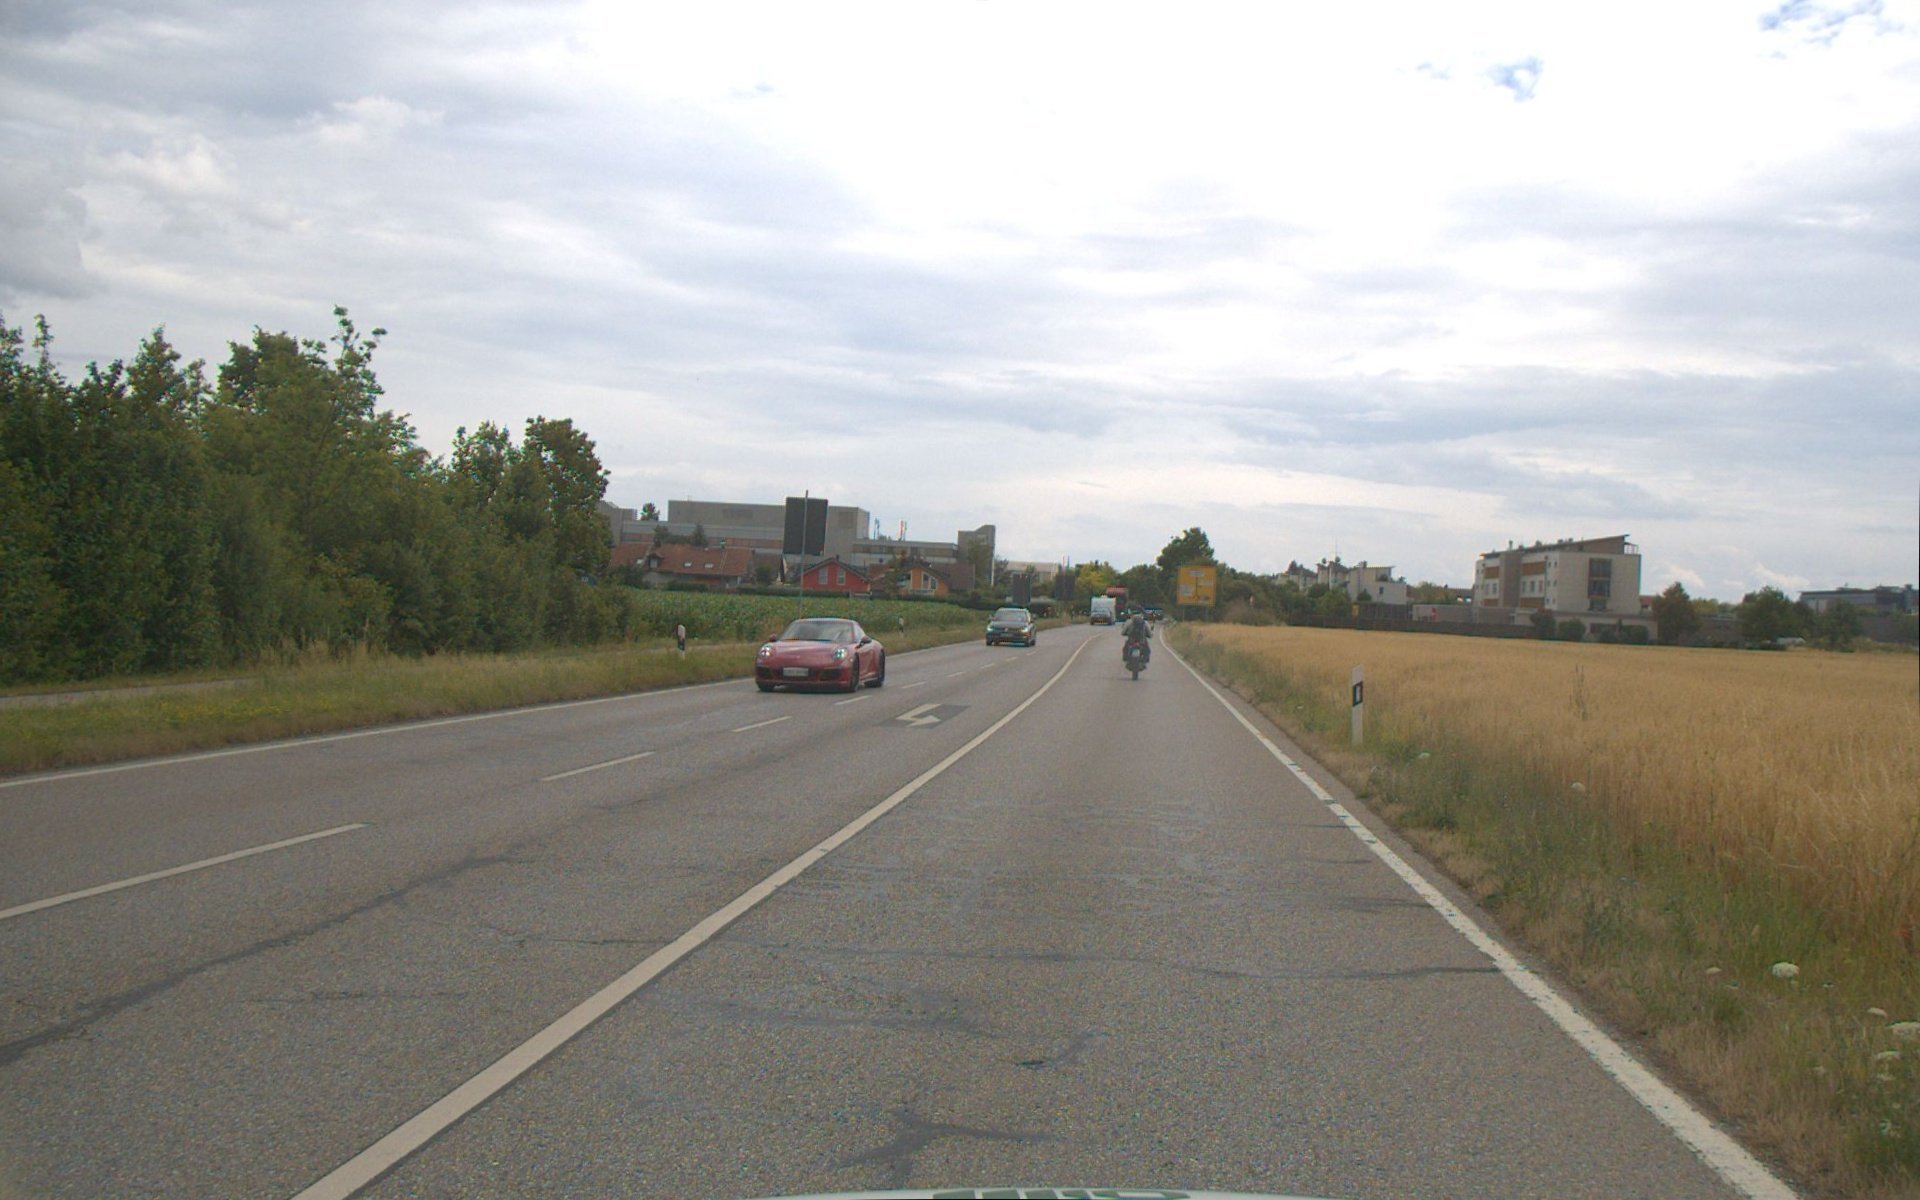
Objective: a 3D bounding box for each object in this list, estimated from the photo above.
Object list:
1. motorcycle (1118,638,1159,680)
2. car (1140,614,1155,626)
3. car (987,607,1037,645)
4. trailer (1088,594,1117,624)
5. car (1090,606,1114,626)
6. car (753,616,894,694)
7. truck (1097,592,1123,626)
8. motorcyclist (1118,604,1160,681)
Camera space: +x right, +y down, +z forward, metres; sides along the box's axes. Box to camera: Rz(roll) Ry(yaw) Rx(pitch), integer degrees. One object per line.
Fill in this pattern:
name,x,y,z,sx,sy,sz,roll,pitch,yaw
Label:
motorcycle,4.332,1.417,40.016,0.921,0.905,2.147,3,0,7
car,24.476,2.575,215.728,1.816,1.498,4.003,3,0,7
car,2.125,1.023,66.308,1.633,1.454,4.306,1,0,6
trailer,13.850,0.882,160.346,2.275,2.777,7.848,2,0,7
car,13.285,1.520,154.535,1.951,1.729,4.679,2,0,7
car,-2.441,0.977,30.707,1.734,1.262,4.214,2,0,7
truck,18.360,1.126,202.108,2.671,4.057,6.821,2,0,7
motorcyclist,4.342,1.020,40.011,0.921,1.780,1.201,2,-1,7
